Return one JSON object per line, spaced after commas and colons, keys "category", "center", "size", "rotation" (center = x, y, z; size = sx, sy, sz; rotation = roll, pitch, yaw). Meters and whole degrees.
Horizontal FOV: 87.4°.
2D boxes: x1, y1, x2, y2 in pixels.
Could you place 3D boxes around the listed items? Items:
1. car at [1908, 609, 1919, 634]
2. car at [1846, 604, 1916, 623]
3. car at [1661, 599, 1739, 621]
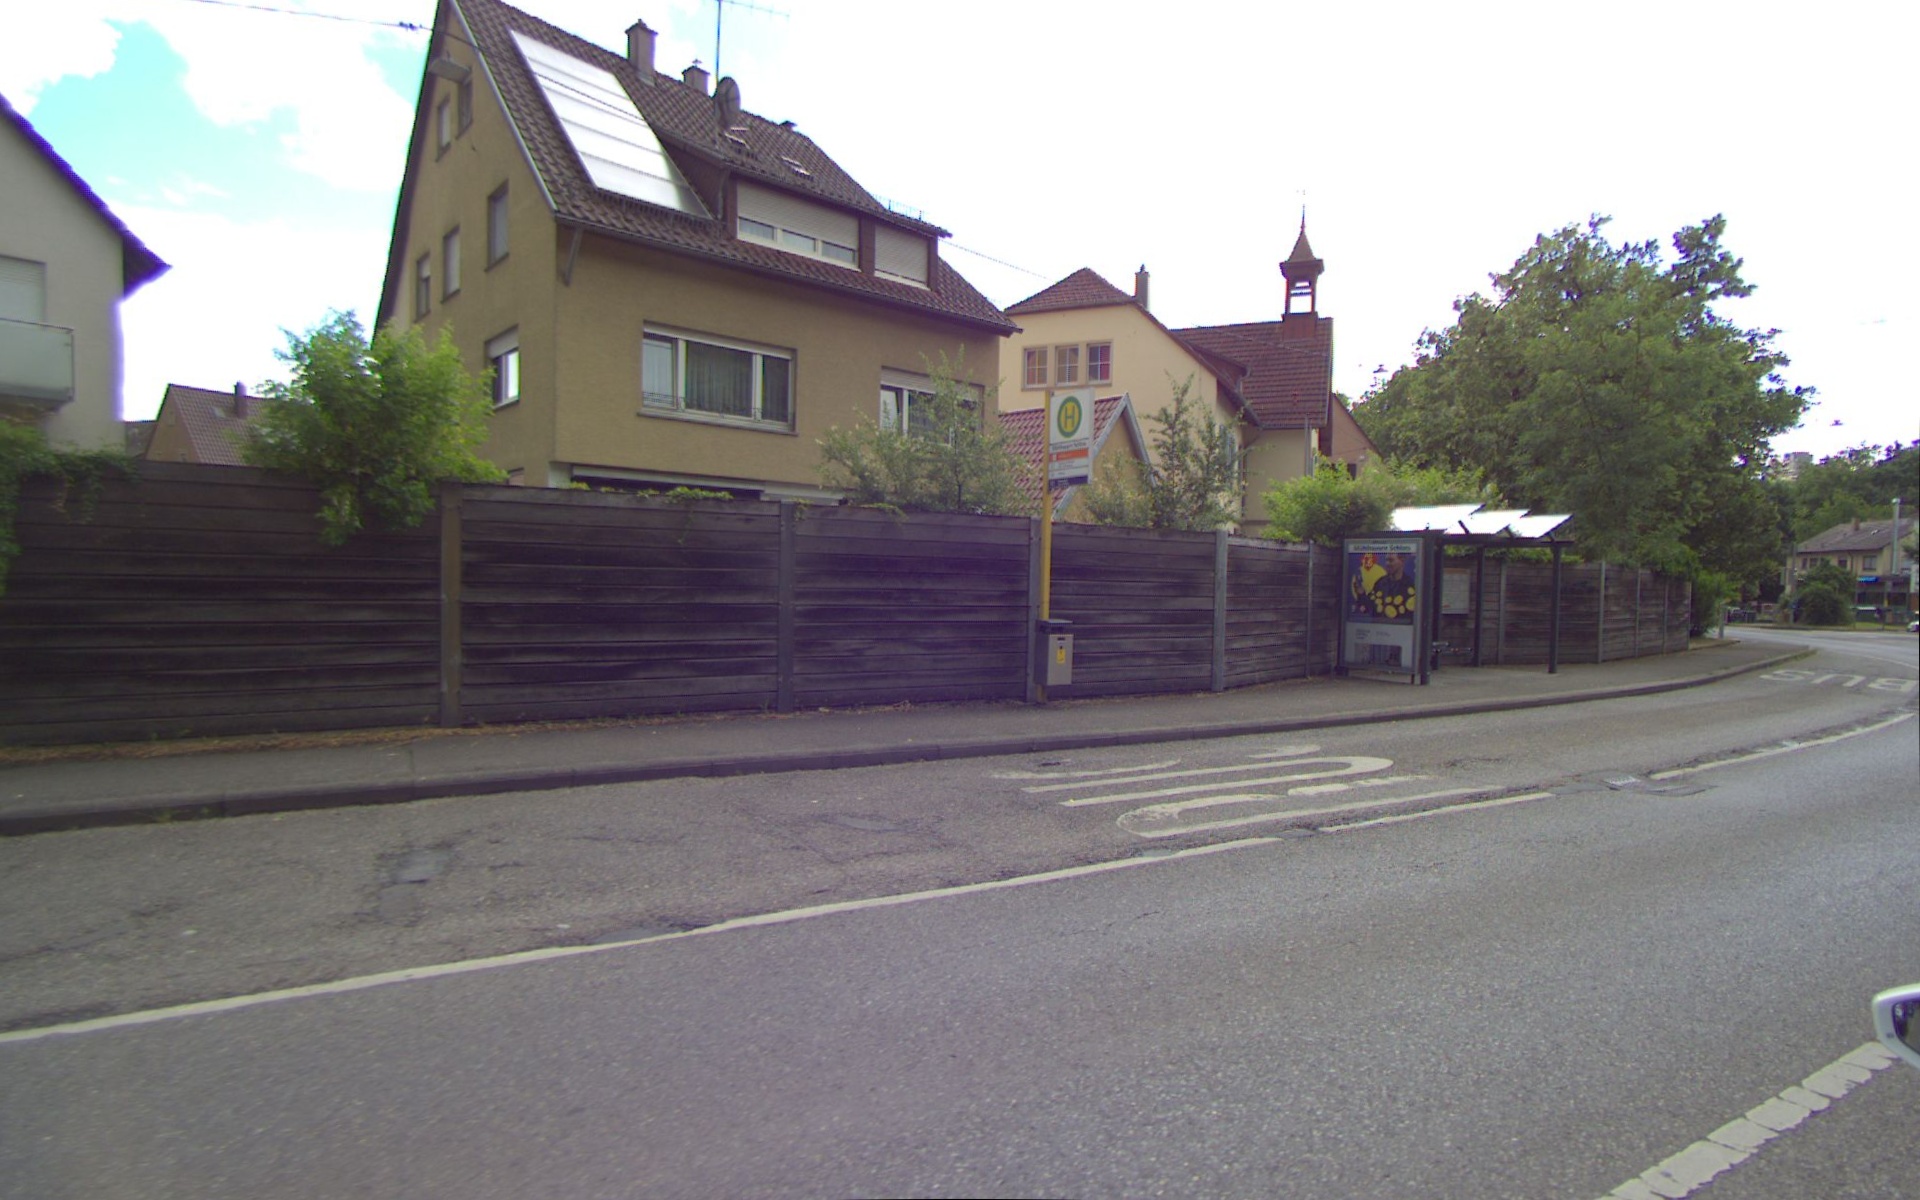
{"category": "car", "center": [60.767, 1.368, 60.779], "size": [1.967, 1.537, 4.577], "rotation": [1, 0, -16]}
{"category": "car", "center": [77.646, 1.123, 84.742], "size": [3.921, 1.506, 1.759], "rotation": [1, 0, 21]}
{"category": "car", "center": [56.089, 0.739, 76.229], "size": [1.967, 1.537, 4.577], "rotation": [1, 0, -16]}
